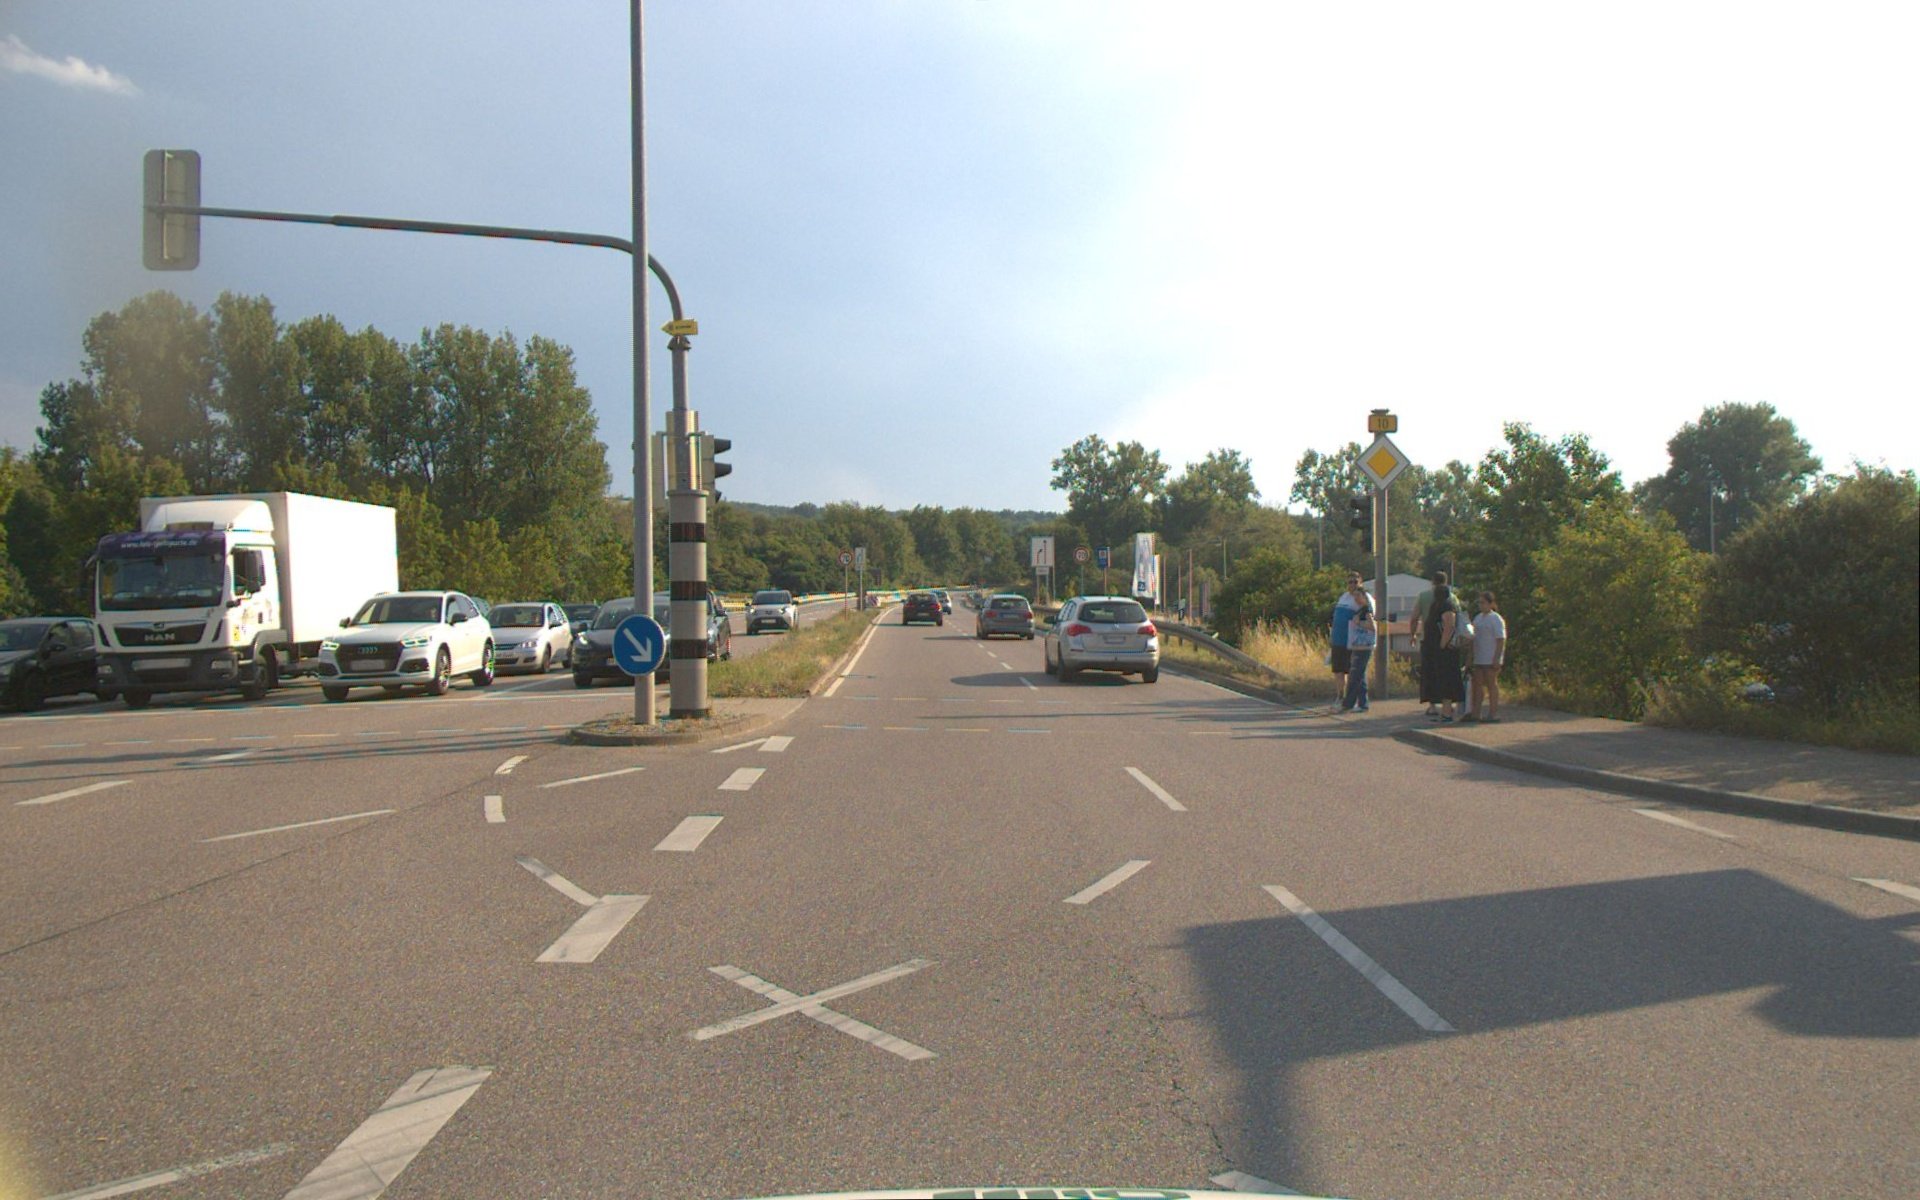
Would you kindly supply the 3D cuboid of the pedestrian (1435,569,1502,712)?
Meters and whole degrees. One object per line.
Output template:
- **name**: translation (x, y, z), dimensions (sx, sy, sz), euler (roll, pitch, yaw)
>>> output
- **pedestrian**: translation (6.201, 0.494, 20.193), dimensions (0.561, 1.707, 0.622), euler (1, -1, -6)

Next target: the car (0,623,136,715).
- **car**: translation (-15.550, 1.118, 27.390), dimensions (1.777, 1.400, 3.999), euler (-2, -1, 0)

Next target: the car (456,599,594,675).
- **car**: translation (-9.002, 0.739, 34.617), dimensions (1.668, 1.430, 5.079), euler (-1, -1, -2)

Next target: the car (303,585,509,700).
- **car**: translation (-9.118, 0.681, 27.675), dimensions (1.953, 1.708, 4.804), euler (-1, -1, -2)

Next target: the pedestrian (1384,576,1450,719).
- **pedestrian**: translation (5.550, 0.574, 20.102), dimensions (0.561, 1.707, 0.622), euler (1, -1, -6)

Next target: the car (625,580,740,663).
- **car**: translation (-5.826, 0.401, 35.208), dimensions (1.744, 1.564, 4.570), euler (-1, 1, -2)

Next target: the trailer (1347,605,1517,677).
- **trailer**: translation (23.792, 2.049, 83.661), dimensions (7.714, 3.381, 3.360), euler (1, -1, 3)

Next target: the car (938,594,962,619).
- **car**: translation (-0.627, 0.409, 105.140), dimensions (1.462, 1.502, 3.358), euler (1, -1, 0)

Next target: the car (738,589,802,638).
- **car**: translation (-6.429, 0.465, 56.294), dimensions (1.744, 1.546, 3.998), euler (-2, -1, -1)

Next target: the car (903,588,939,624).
- **car**: translation (-1.678, 0.289, 71.996), dimensions (1.462, 1.502, 3.358), euler (1, -1, 0)

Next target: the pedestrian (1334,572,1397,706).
- **pedestrian**: translation (5.366, 0.512, 21.898), dimensions (0.582, 1.712, 0.633), euler (-2, -1, -2)

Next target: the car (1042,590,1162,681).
- **car**: translation (2.530, 0.632, 30.259), dimensions (1.772, 1.512, 3.999), euler (1, -1, -1)

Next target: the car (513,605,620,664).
- **car**: translation (-9.844, 0.820, 41.742), dimensions (1.668, 1.306, 4.817), euler (-2, 0, -2)

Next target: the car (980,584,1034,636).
- **car**: translation (1.506, 0.337, 54.254), dimensions (1.633, 1.601, 3.999), euler (2, -1, 0)

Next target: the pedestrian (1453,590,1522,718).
- **pedestrian**: translation (6.209, 0.631, 19.491), dimensions (0.561, 1.482, 0.622), euler (1, -1, -6)

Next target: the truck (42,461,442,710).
- **truck**: translation (-12.853, -0.161, 31.066), dimensions (2.873, 3.755, 10.497), euler (-3, -1, 0)

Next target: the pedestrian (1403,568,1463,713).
- **pedestrian**: translation (5.975, 0.509, 20.904), dimensions (0.520, 1.780, 0.537), euler (-4, -1, 3)

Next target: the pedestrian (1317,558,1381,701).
- **pedestrian**: translation (5.325, 0.402, 22.660), dimensions (0.606, 1.916, 0.861), euler (-1, -1, -2)

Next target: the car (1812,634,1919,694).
- **car**: translation (24.339, 1.673, 44.190), dimensions (1.496, 1.510, 3.586), euler (1, -1, 4)

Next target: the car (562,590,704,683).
- **car**: translation (-5.661, 0.616, 29.201), dimensions (1.754, 1.492, 4.926), euler (-1, -1, -3)

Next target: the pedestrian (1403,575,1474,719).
- **pedestrian**: translation (5.608, 0.543, 19.393), dimensions (0.561, 1.643, 0.622), euler (-2, -1, -6)
